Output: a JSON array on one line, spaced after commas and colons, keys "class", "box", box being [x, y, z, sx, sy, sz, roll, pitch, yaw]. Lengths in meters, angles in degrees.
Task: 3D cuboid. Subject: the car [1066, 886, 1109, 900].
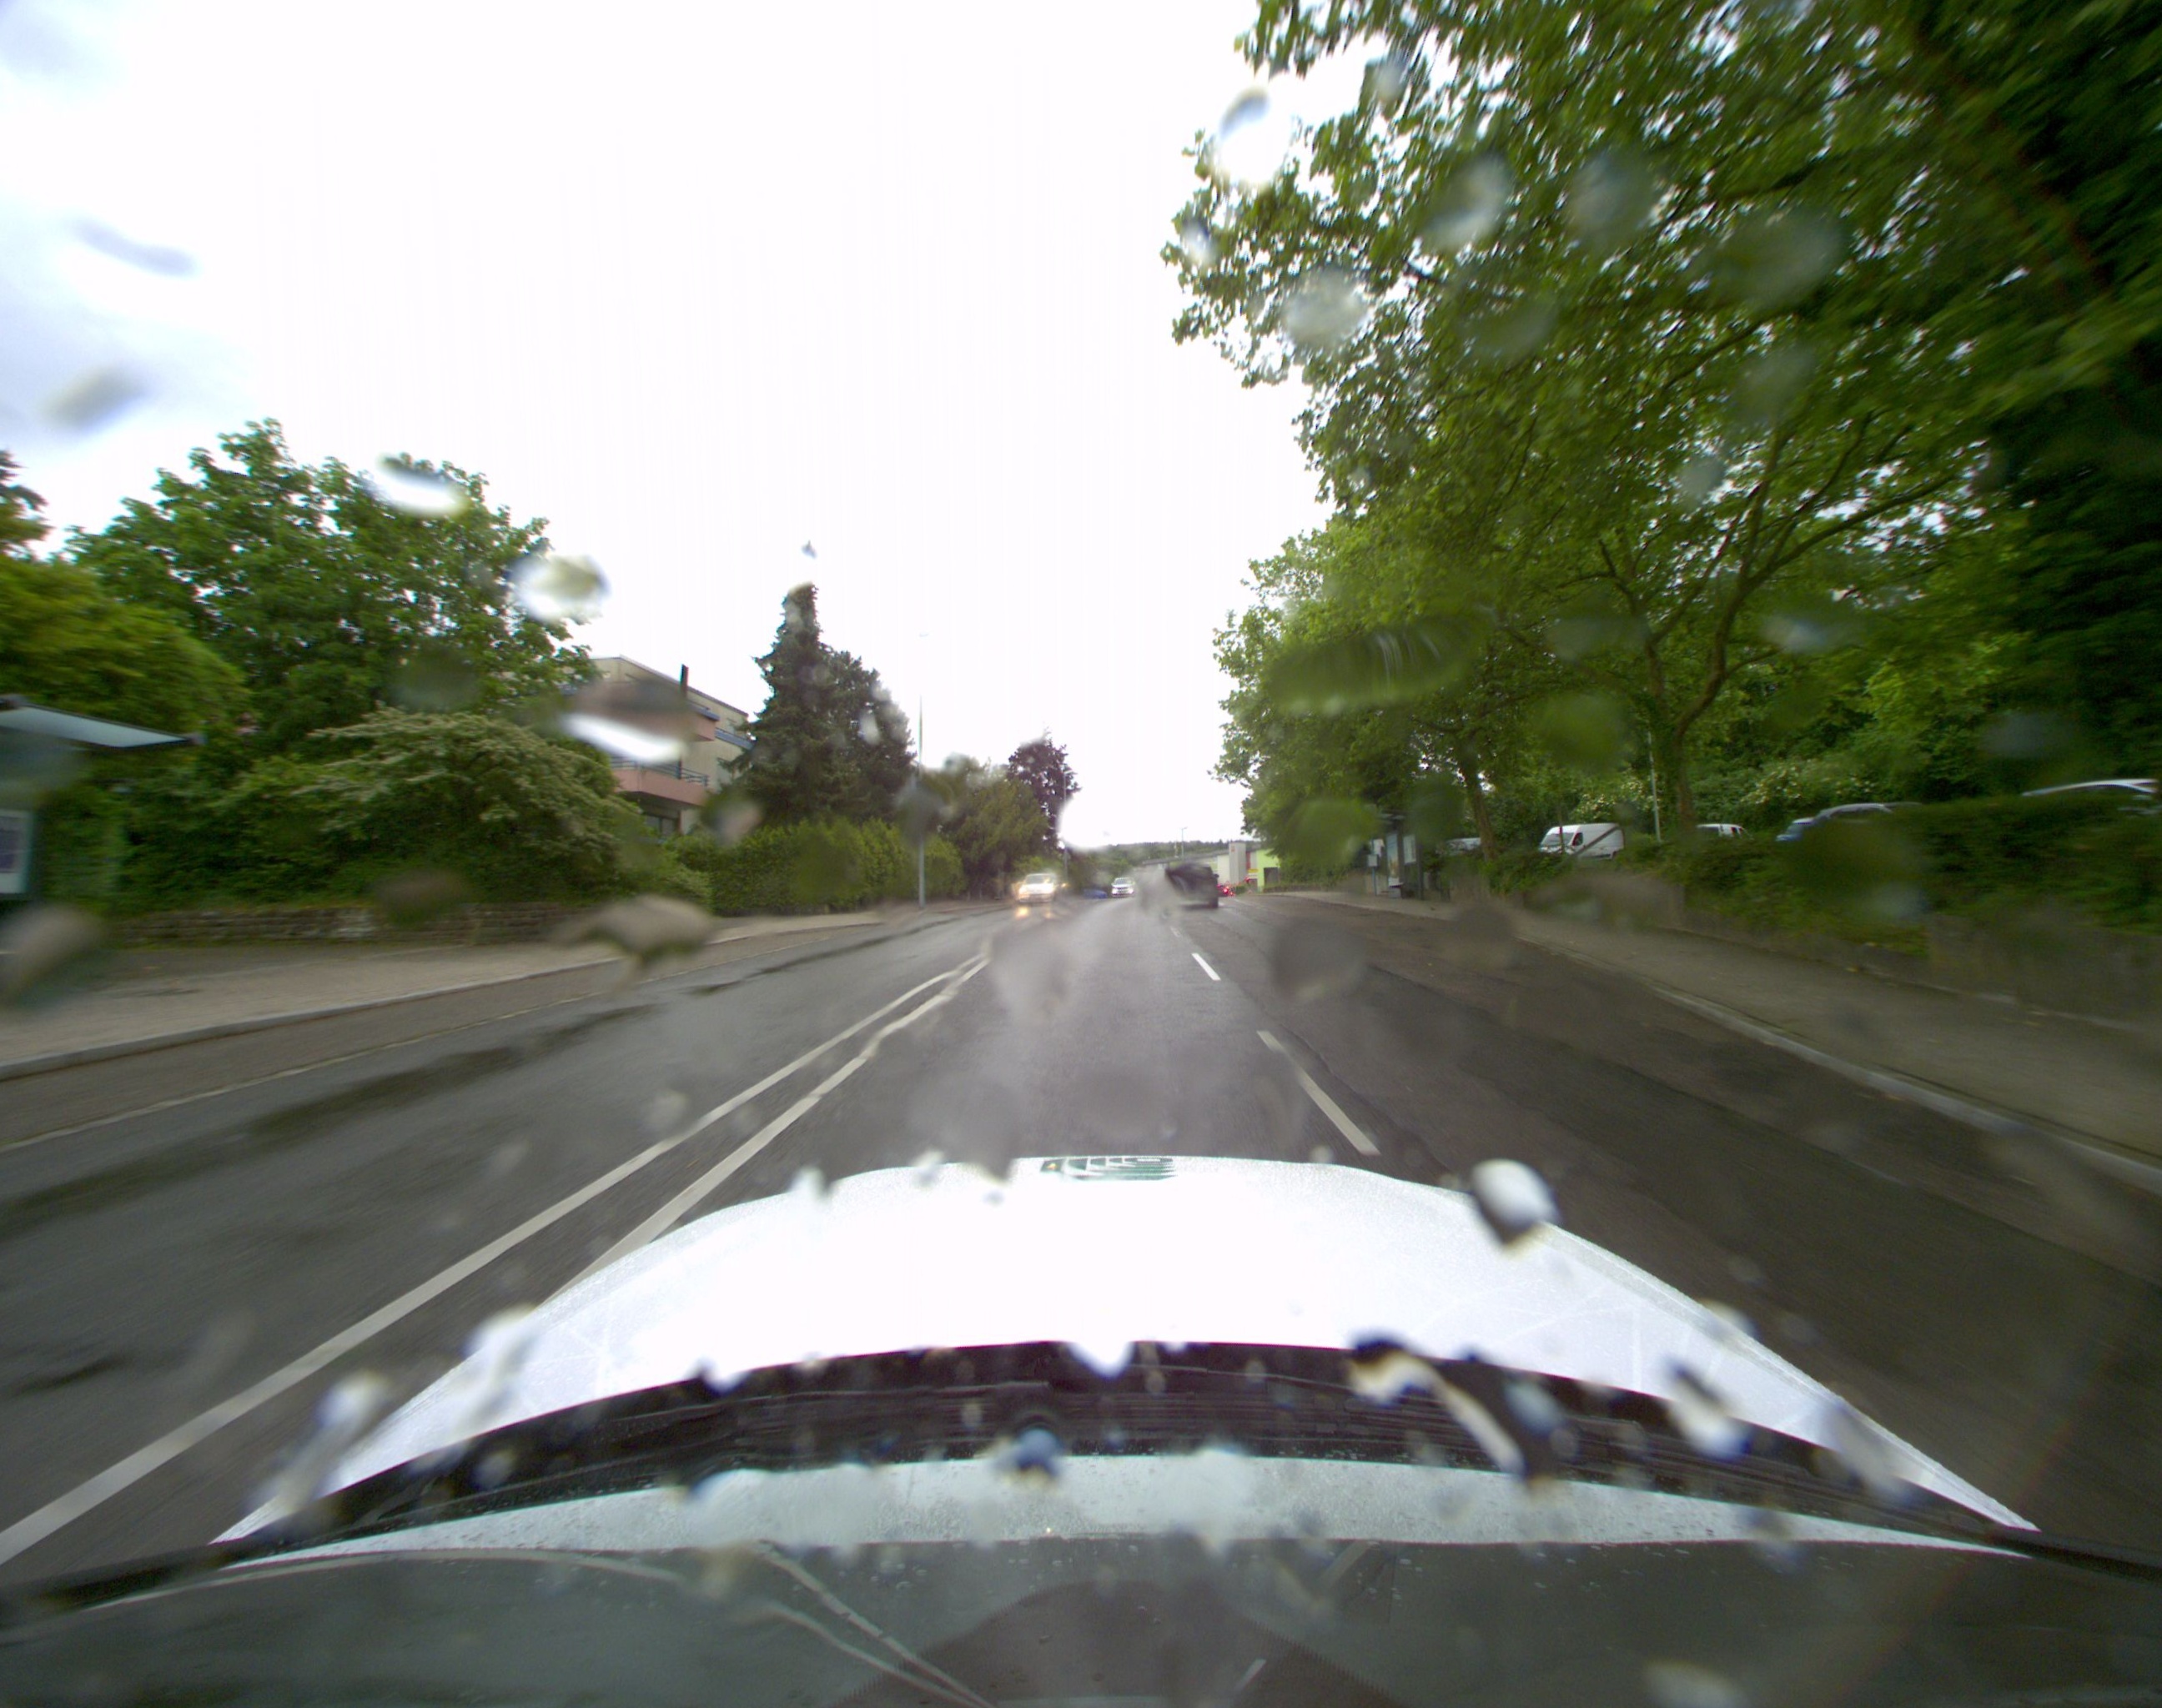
[{"class": "car", "box": [0.742, 4.151, 87.076, 4.460, 1.362, 1.808, 0, -1, 5]}]

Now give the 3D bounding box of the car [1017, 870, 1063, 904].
[{"class": "car", "box": [-1.818, 1.458, 36.889, 1.678, 1.454, 3.401, -1, -1, 4]}]

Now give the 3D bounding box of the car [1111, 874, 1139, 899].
[{"class": "car", "box": [3.802, 2.750, 69.850, 1.853, 1.917, 5.040, -3, -2, 8]}]

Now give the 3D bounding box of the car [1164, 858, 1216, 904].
[{"class": "car", "box": [4.133, 0.985, 31.489, 1.781, 1.603, 4.259, 0, 0, 5]}]

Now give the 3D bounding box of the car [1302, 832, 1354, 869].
[{"class": "car", "box": [15.546, -0.190, 51.452, 1.987, 2.226, 4.133, 0, 0, 0]}]

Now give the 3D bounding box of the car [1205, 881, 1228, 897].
[{"class": "car", "box": [13.208, 3.403, 79.582, 1.983, 1.442, 4.007, 0, -2, 7]}]

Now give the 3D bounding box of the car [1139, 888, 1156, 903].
[{"class": "car", "box": [8.035, 5.044, 98.249, 1.691, 1.708, 3.987, 2, -3, 9]}]

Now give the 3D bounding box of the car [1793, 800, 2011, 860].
[{"class": "car", "box": [22.263, -0.596, 22.364, 1.887, 1.453, 4.173, 1, 0, 2]}]

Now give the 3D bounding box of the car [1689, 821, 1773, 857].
[{"class": "car", "box": [32.762, -0.740, 41.039, 4.189, 1.665, 1.788, 1, 0, -27]}]

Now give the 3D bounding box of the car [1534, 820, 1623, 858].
[{"class": "car", "box": [28.782, -0.818, 47.116, 5.215, 2.013, 1.981, 1, 0, -27]}]

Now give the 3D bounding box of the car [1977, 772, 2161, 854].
[{"class": "car", "box": [20.835, -0.756, 15.998, 1.888, 1.453, 4.171, 1, 0, 0]}]

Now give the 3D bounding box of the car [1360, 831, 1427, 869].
[{"class": "car", "box": [19.340, -0.223, 50.599, 2.039, 2.284, 5.012, 0, 0, -3]}]
